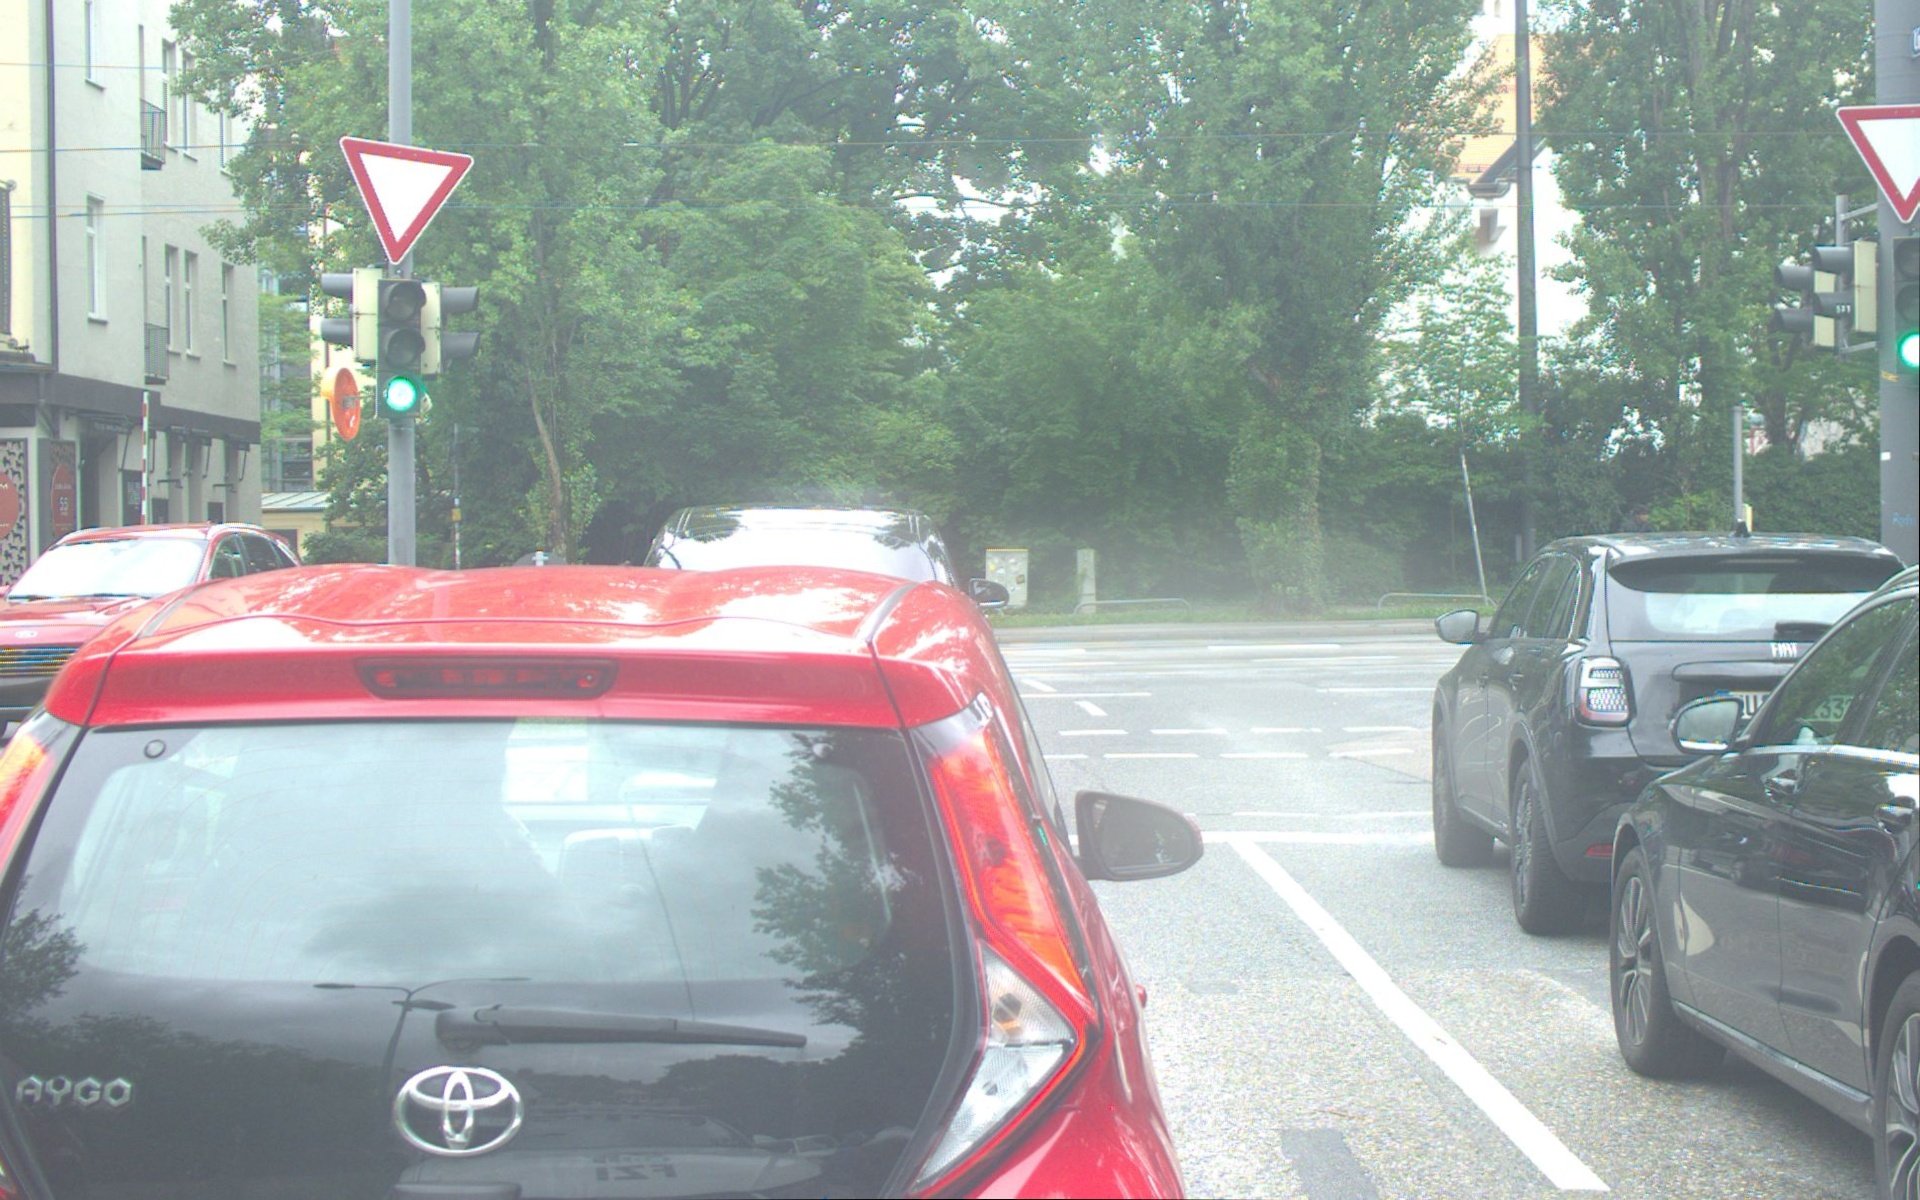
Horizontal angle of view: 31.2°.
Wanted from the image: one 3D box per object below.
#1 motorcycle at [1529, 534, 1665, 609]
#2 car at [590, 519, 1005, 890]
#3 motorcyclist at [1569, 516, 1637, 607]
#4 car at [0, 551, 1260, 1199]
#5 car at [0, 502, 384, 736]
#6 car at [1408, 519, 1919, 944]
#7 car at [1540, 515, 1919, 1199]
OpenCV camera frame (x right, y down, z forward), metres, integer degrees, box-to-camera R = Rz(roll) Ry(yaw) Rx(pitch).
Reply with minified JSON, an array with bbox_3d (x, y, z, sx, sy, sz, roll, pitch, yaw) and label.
[{"bbox_3d":[10.153,-0.457,54.820,2.026,1.165,0.629,1,0,32],"label":"motorcycle"},{"bbox_3d":[-0.663,0.394,16.860,1.736,1.544,4.576,-1,1,1],"label":"car"},{"bbox_3d":[10.244,-0.611,54.752,0.880,1.438,0.619,1,0,32],"label":"motorcyclist"},{"bbox_3d":[-0.503,0.671,5.020,1.628,1.435,3.377,-1,1,1],"label":"car"},{"bbox_3d":[-6.585,0.083,27.892,2.104,1.632,4.937,-1,2,11],"label":"car"},{"bbox_3d":[2.965,0.435,14.151,1.781,1.481,4.000,-1,1,1],"label":"car"},{"bbox_3d":[2.706,0.592,8.016,1.863,1.544,4.704,1,1,0],"label":"car"}]
